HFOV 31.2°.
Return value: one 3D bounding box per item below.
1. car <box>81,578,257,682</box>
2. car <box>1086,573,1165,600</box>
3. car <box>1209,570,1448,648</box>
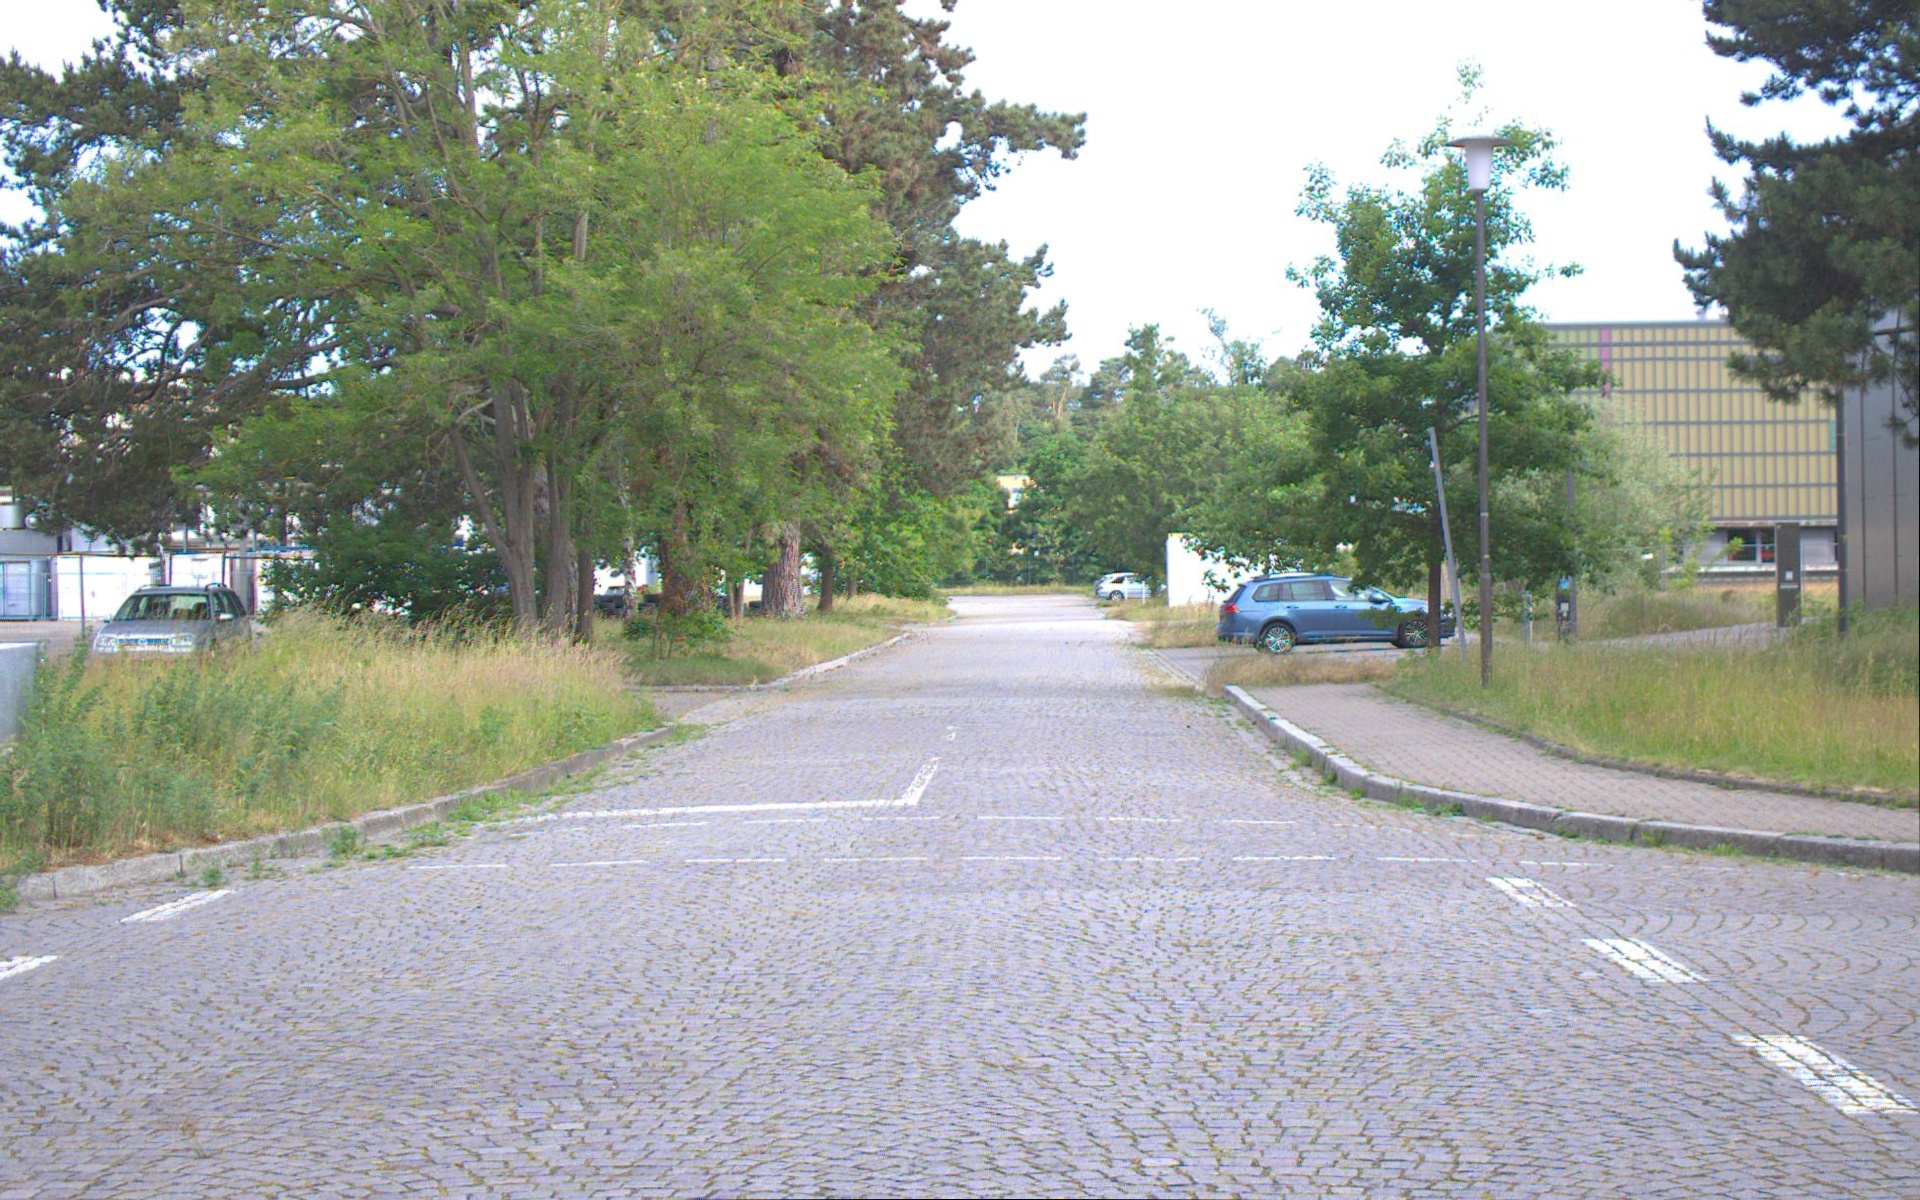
[{"bbox_3d":[-11.841,0.420,51.662,1.613,1.482,4.000,0,1,2],"label":"car"},{"bbox_3d":[8.780,-0.715,182.977,3.986,1.393,2.000,-1,1,-4],"label":"car"},{"bbox_3d":[7.029,0.155,65.930,4.344,1.417,2.000,-1,1,0],"label":"car"}]
